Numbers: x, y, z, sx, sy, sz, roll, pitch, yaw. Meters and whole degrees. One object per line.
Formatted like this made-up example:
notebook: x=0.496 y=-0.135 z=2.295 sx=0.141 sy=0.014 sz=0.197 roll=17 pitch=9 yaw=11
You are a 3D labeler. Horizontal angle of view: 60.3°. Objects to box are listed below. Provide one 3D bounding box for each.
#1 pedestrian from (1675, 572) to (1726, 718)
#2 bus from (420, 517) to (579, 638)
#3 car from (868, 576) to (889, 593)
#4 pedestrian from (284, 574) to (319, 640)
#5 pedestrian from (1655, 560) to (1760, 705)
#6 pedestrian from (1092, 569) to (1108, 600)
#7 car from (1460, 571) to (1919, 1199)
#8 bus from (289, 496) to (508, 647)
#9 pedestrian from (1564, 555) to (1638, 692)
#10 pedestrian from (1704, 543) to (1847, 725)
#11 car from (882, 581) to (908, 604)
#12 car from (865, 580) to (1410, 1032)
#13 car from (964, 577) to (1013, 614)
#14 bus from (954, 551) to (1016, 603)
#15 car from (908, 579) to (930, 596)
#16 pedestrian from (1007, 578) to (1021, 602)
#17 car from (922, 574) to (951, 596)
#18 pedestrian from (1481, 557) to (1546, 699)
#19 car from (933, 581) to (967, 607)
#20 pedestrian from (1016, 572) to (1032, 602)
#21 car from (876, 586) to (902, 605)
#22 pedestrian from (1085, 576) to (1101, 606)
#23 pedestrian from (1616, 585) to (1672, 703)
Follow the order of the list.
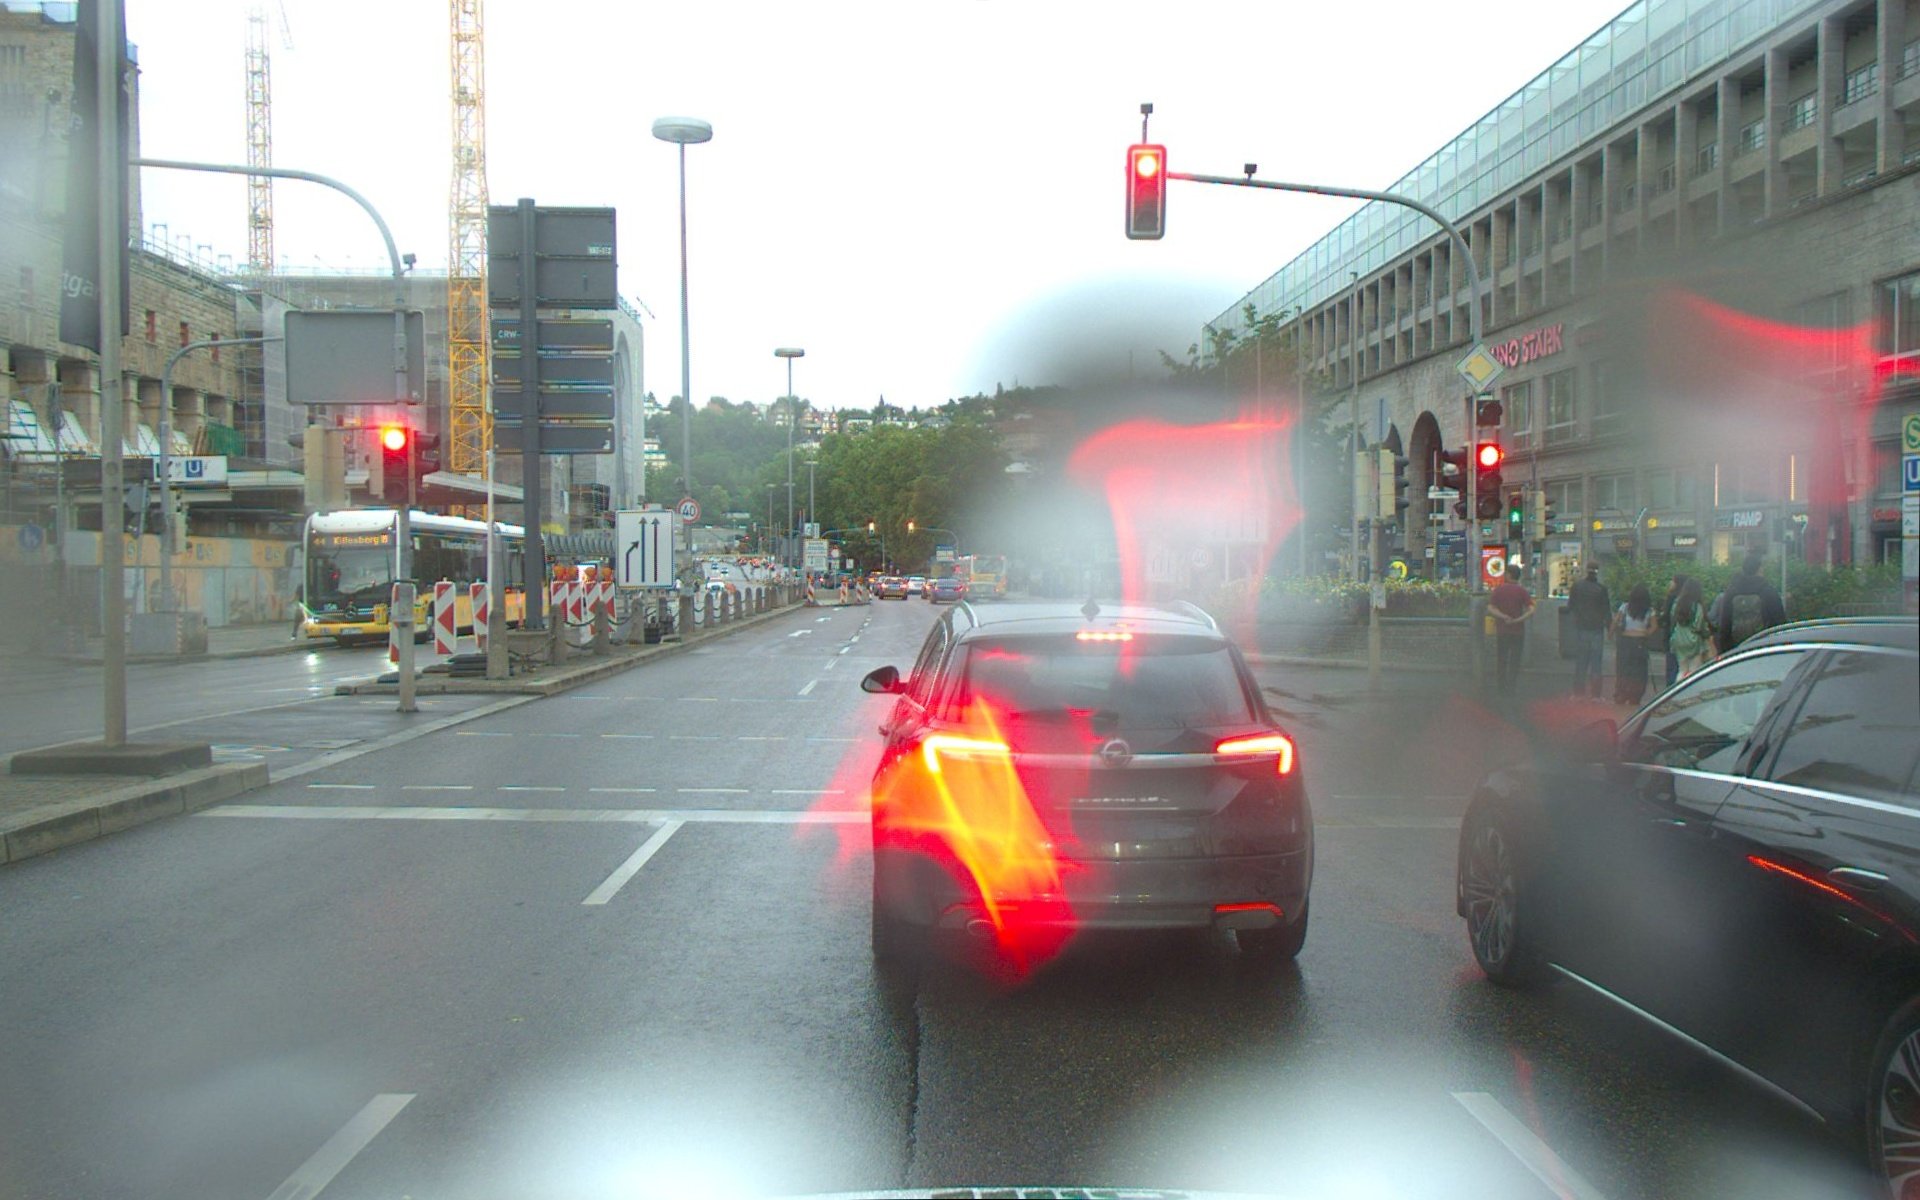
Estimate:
pedestrian: x=9.236 y=0.546 z=20.634 sx=0.471 sy=1.782 sz=0.666 roll=-2 pitch=0 yaw=19
bus: x=-15.339 y=-0.680 z=55.996 sx=2.614 sy=3.665 sz=10.209 roll=1 pitch=0 yaw=-1
car: x=-7.349 y=-1.388 z=149.860 sx=1.723 sy=1.422 sz=3.563 roll=1 pitch=0 yaw=-1
pedestrian: x=-17.418 y=0.187 z=43.765 sx=0.646 sy=1.710 sz=0.644 roll=1 pitch=0 yaw=-1
pedestrian: x=8.837 y=0.378 z=19.576 sx=0.778 sy=1.654 sz=0.899 roll=1 pitch=0 yaw=-4
pedestrian: x=8.002 y=-0.881 z=94.423 sx=0.748 sy=1.720 sz=0.824 roll=1 pitch=0 yaw=-5
car: x=3.021 y=0.716 z=4.704 sx=1.757 sy=1.528 sz=4.628 roll=1 pitch=0 yaw=0
bus: x=-15.174 y=-0.688 z=45.709 sx=2.614 sy=3.665 sz=10.237 roll=1 pitch=0 yaw=-1
pedestrian: x=8.287 y=0.302 z=21.395 sx=0.740 sy=1.747 sz=0.466 roll=1 pitch=0 yaw=-5
pedestrian: x=8.303 y=0.339 z=16.867 sx=1.074 sy=1.782 sz=0.653 roll=-2 pitch=0 yaw=-4
car: x=-4.299 y=-0.497 z=109.560 sx=1.718 sy=1.422 sz=4.536 roll=1 pitch=0 yaw=-2
car: x=0.566 y=0.707 z=7.632 sx=1.837 sy=1.512 sz=3.999 roll=1 pitch=0 yaw=-1
car: x=1.110 y=-0.177 z=65.823 sx=1.808 sy=1.422 sz=3.666 roll=1 pitch=0 yaw=-1
bus: x=1.701 y=-1.578 z=120.915 sx=4.089 sy=3.529 sz=14.651 roll=1 pitch=0 yaw=-1
car: x=-3.519 y=-1.036 z=140.850 sx=1.808 sy=1.422 sz=3.563 roll=1 pitch=0 yaw=-1
pedestrian: x=4.820 y=-0.907 z=148.689 sx=1.174 sy=2.186 sz=1.228 roll=1 pitch=0 yaw=0
car: x=-1.628 y=-1.027 z=114.542 sx=1.718 sy=1.422 sz=4.398 roll=1 pitch=0 yaw=-4
pedestrian: x=7.125 y=0.354 z=21.277 sx=0.560 sy=1.783 sz=0.676 roll=1 pitch=0 yaw=42
car: x=-0.610 y=-0.351 z=96.953 sx=1.718 sy=1.422 sz=4.645 roll=1 pitch=0 yaw=-3
pedestrian: x=5.206 y=-1.059 z=134.961 sx=1.174 sy=2.478 sz=1.228 roll=1 pitch=0 yaw=0
car: x=-5.393 y=-0.326 z=126.245 sx=1.808 sy=1.422 sz=3.563 roll=1 pitch=0 yaw=-1
pedestrian: x=7.679 y=-0.517 z=95.543 sx=0.748 sy=1.720 sz=0.824 roll=1 pitch=0 yaw=-5
pedestrian: x=8.649 y=0.548 z=20.926 sx=0.617 sy=1.452 sz=0.490 roll=1 pitch=0 yaw=21
